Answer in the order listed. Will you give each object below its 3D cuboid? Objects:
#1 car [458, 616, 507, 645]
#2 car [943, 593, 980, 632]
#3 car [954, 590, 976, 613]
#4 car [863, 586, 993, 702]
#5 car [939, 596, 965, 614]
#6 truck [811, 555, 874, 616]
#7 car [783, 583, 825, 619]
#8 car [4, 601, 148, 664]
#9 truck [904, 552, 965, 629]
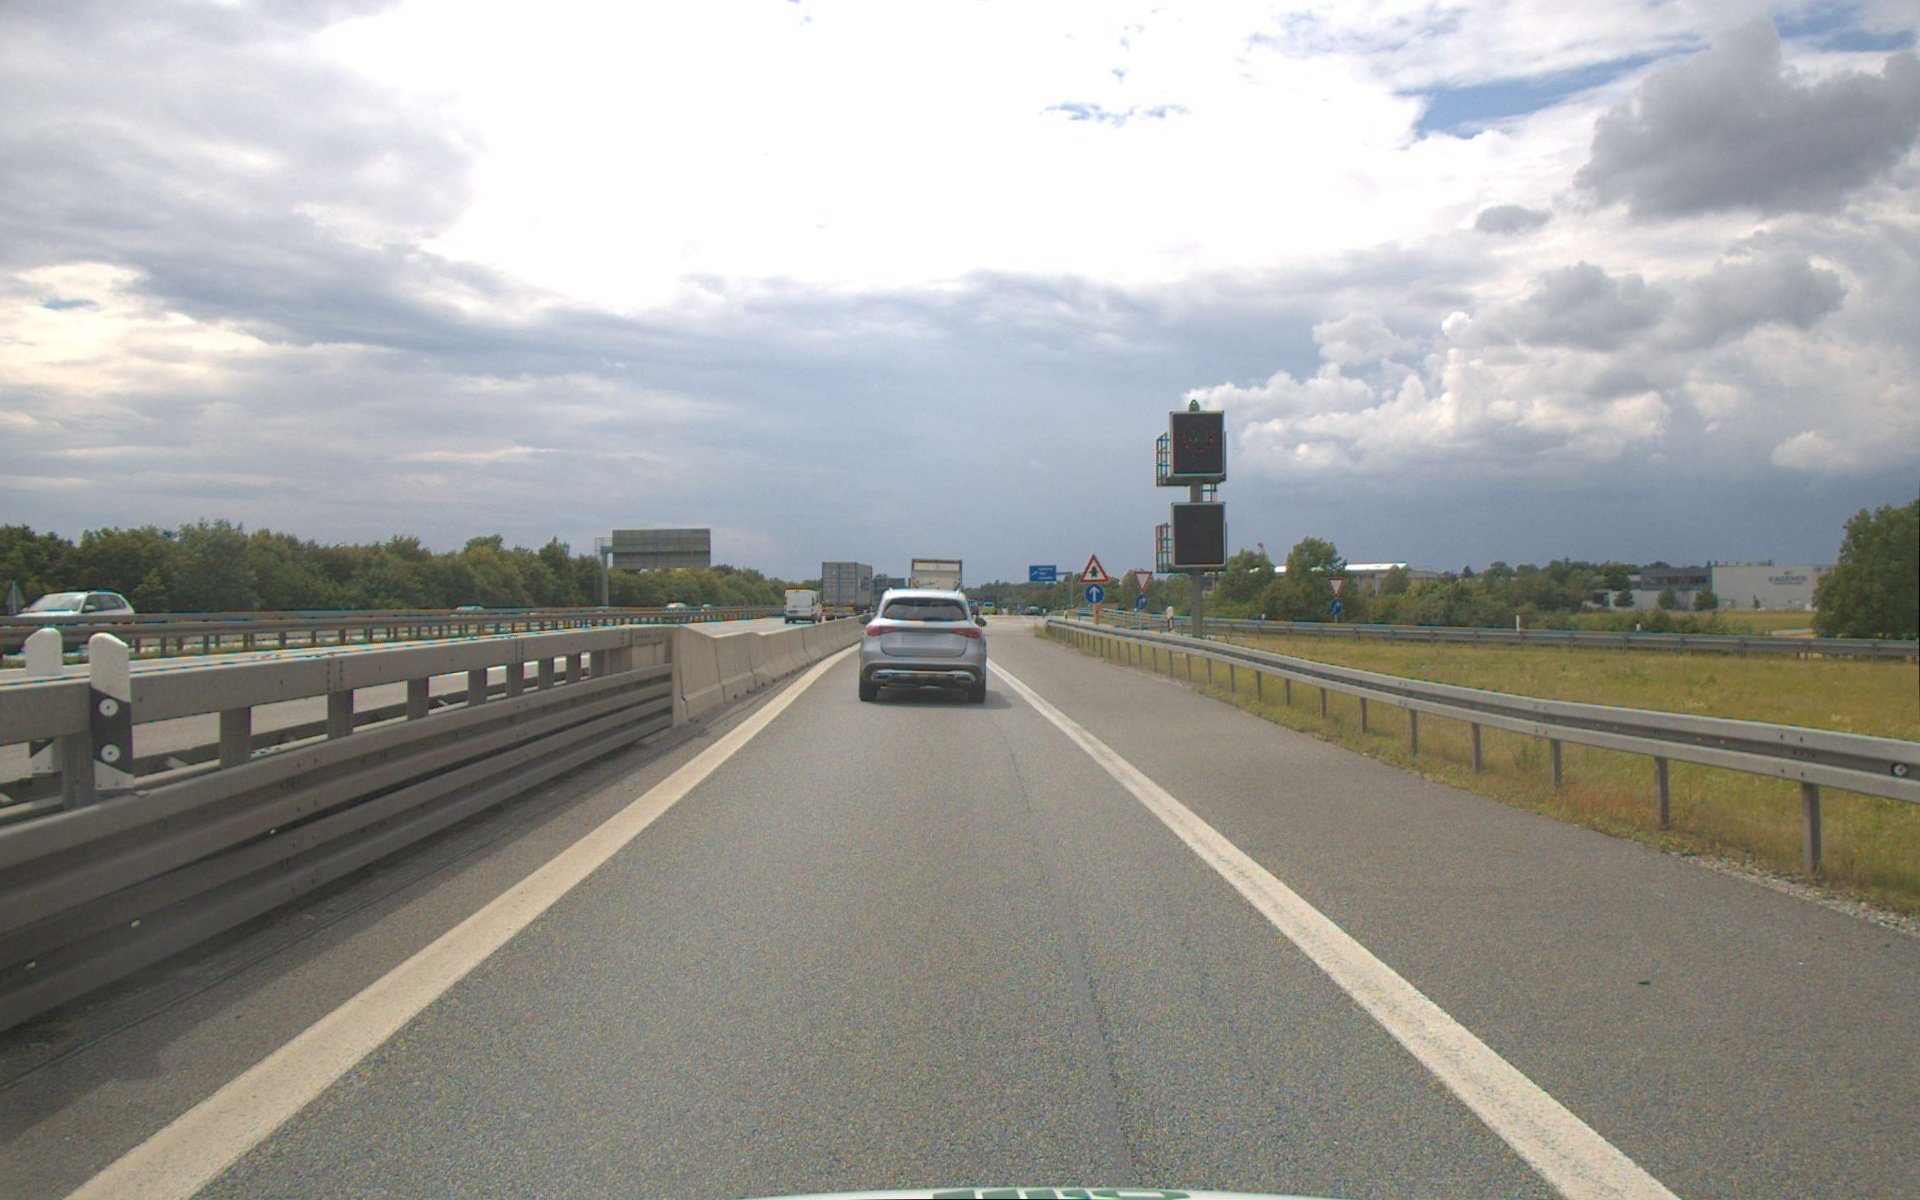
[{"bbox_3d":[-30.482,1.939,105.637,1.791,1.735,4.002,1,0,3],"label":"car"},{"bbox_3d":[0.089,0.691,94.298,1.952,2.048,4.001,1,1,2],"label":"car"},{"bbox_3d":[0.485,0.103,158.971,1.952,2.048,4.376,1,1,2],"label":"car"},{"bbox_3d":[-0.445,0.593,25.109,1.782,1.541,4.000,1,1,0],"label":"car"},{"bbox_3d":[-0.552,0.362,120.597,1.661,1.310,4.001,1,0,2],"label":"car"},{"bbox_3d":[-8.489,-1.165,121.510,3.117,4.089,16.078,1,1,1],"label":"truck"},{"bbox_3d":[-9.311,0.015,99.114,1.952,2.048,4.376,1,1,2],"label":"car"},{"bbox_3d":[-25.981,0.921,48.804,1.708,1.650,4.518,1,1,2],"label":"car"},{"bbox_3d":[-1.054,-0.385,73.907,2.516,3.180,8.634,1,0,0],"label":"truck"}]
